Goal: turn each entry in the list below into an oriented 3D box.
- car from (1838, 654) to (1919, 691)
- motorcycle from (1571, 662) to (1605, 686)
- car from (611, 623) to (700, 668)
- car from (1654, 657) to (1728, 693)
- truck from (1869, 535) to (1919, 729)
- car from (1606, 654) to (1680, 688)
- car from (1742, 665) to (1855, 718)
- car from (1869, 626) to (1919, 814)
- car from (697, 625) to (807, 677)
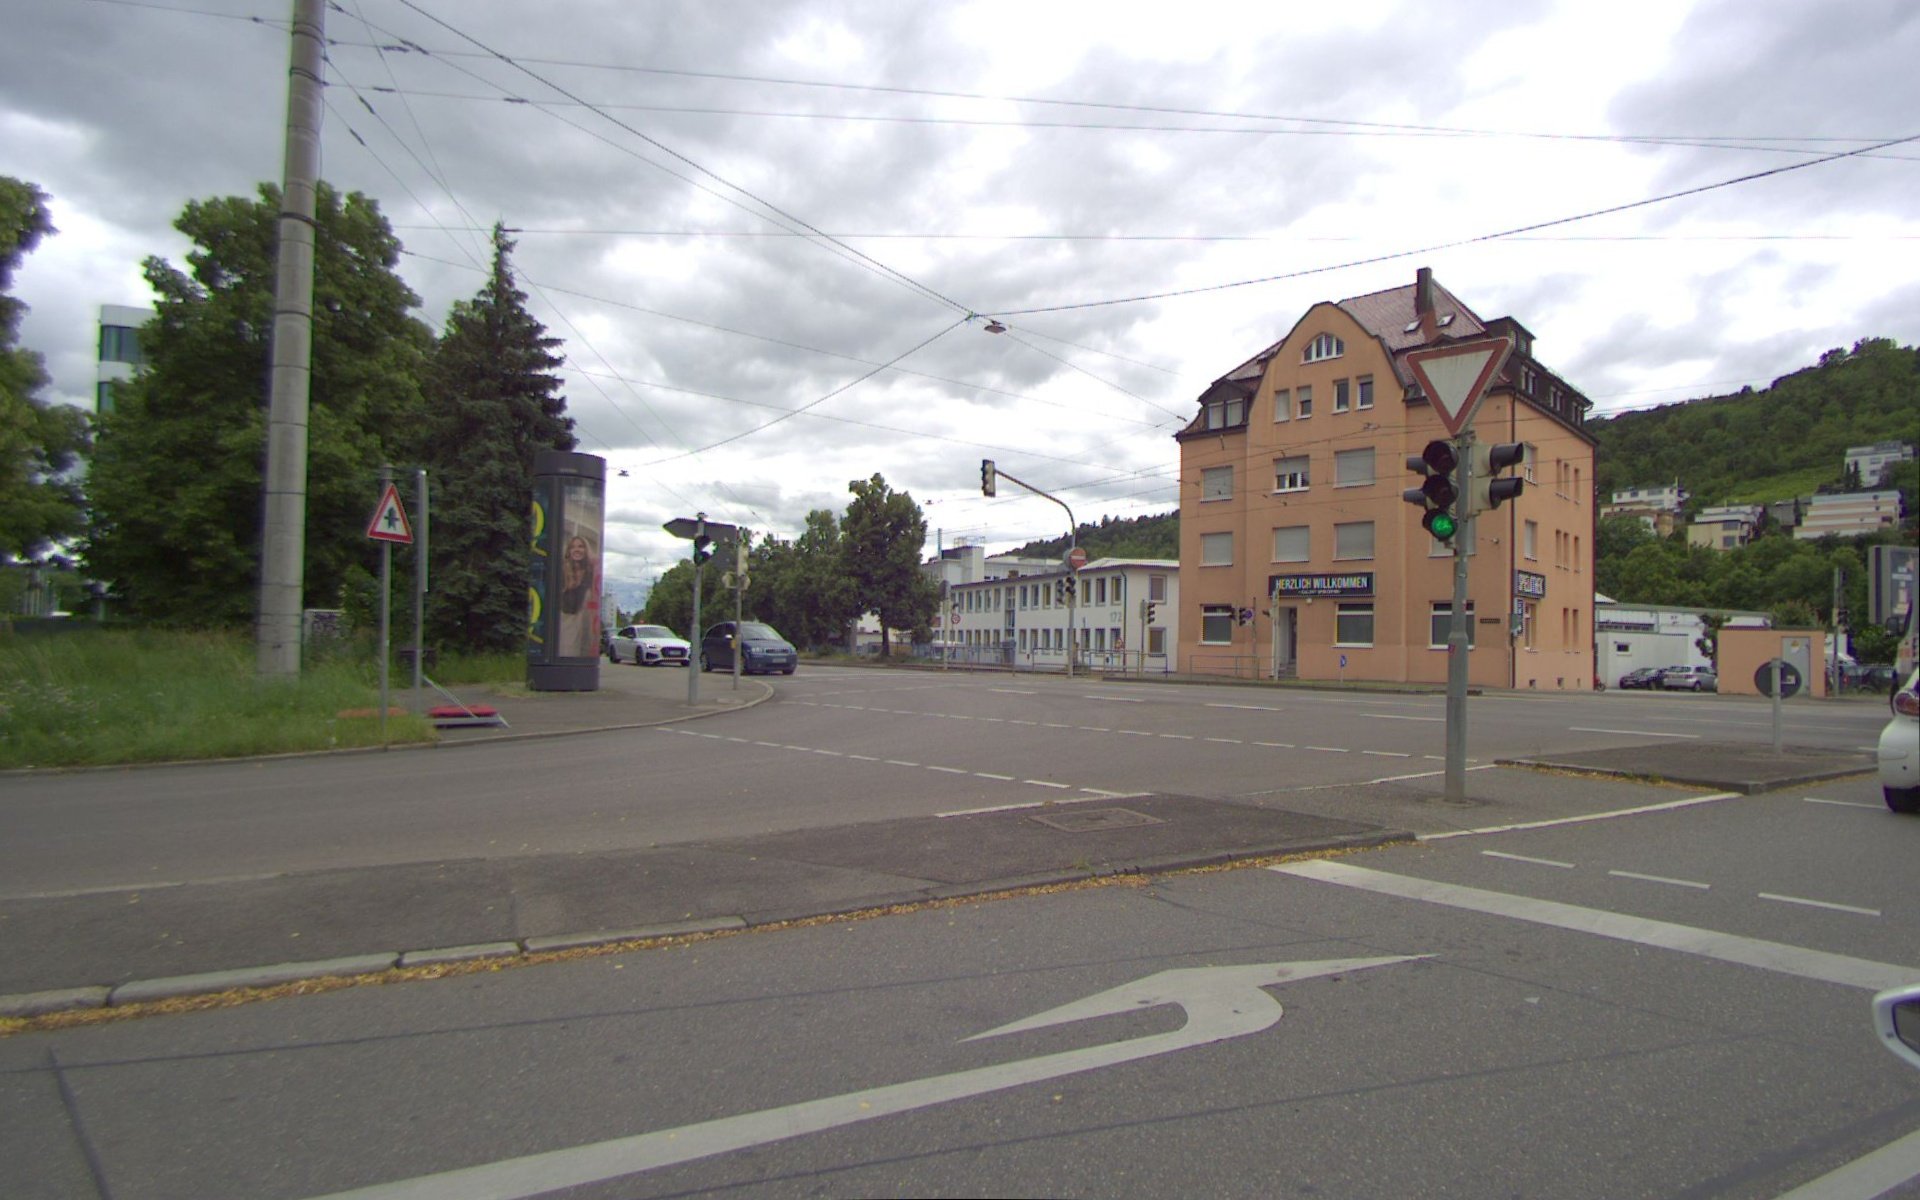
[{"bbox_3d":[41.391,3.217,44.546,3.513,1.505,1.598,-1,-2,37],"label":"car"},{"bbox_3d":[30.834,3.613,49.339,0.518,0.997,1.709,4,0,-2],"label":"motorcycle"},{"bbox_3d":[-10.667,1.554,35.044,1.733,1.445,4.123,2,-2,-36],"label":"car"},{"bbox_3d":[44.034,4.532,60.483,4.460,1.863,1.983,4,0,-31],"label":"car"},{"bbox_3d":[14.543,0.577,13.994,2.284,2.453,5.634,0,-4,37],"label":"truck"},{"bbox_3d":[42.553,4.424,62.554,4.458,1.863,1.984,4,0,-30],"label":"car"},{"bbox_3d":[44.993,4.850,53.957,4.449,2.272,1.988,4,0,45],"label":"car"},{"bbox_3d":[8.997,0.924,8.167,3.338,1.439,1.584,1,-2,-33],"label":"car"},{"bbox_3d":[-6.165,1.457,29.525,1.734,1.410,3.662,2,-2,-38],"label":"car"}]
